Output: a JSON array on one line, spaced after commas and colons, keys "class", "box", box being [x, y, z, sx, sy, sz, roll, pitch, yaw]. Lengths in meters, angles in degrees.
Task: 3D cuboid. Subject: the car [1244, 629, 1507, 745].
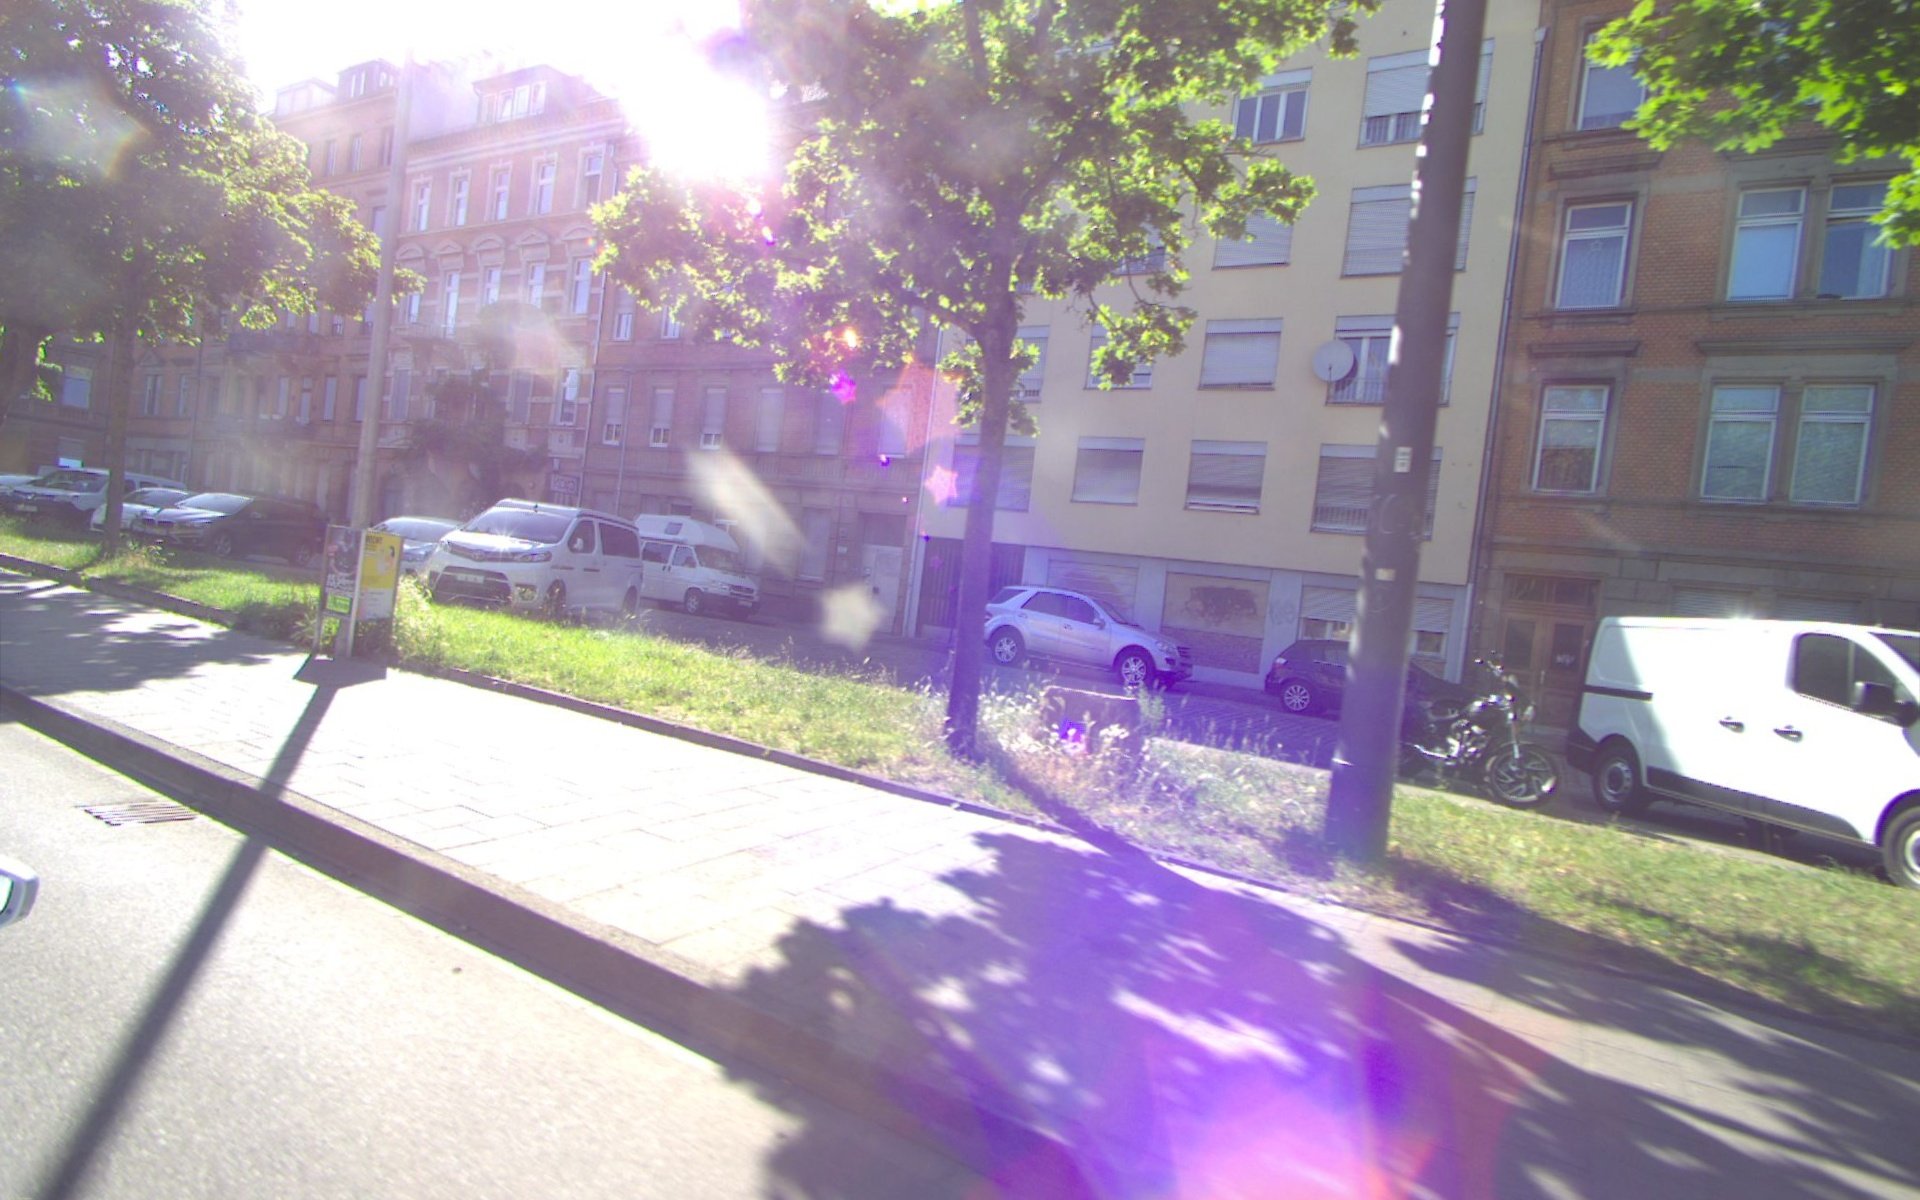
[{"class": "car", "box": [7.572, 1.528, 18.442, 4.095, 1.438, 1.880, 7, 0, 32]}]

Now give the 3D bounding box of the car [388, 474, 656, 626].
[{"class": "car", "box": [-7.273, -0.720, 17.477, 2.061, 2.038, 5.187, 6, 0, 2]}]

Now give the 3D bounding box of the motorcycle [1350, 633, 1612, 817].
[{"class": "motorcycle", "box": [5.089, 1.165, 10.064, 0.842, 1.438, 2.253, 7, 0, -17]}]

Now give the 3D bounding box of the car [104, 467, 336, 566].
[{"class": "car", "box": [-17.391, -1.874, 23.987, 1.962, 1.749, 4.513, 6, 0, 2]}]

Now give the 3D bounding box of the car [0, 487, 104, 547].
[{"class": "car", "box": [-27.900, -2.567, 29.207, 2.009, 1.396, 4.753, 7, -2, -2]}]

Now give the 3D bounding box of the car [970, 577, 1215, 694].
[{"class": "car", "box": [2.760, 0.720, 21.240, 4.549, 1.822, 1.996, 7, 1, 31]}]

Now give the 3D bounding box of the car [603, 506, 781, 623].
[{"class": "car", "box": [-7.319, -0.980, 27.318, 4.439, 2.618, 1.995, 7, 1, 33]}]

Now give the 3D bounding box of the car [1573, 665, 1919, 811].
[{"class": "car", "box": [12.057, 2.038, 15.581, 4.222, 1.438, 1.730, 7, 0, 32]}]

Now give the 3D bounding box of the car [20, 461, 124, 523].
[{"class": "car", "box": [-43.075, -5.253, 48.768, 5.102, 2.387, 2.351, 7, 1, 32]}]

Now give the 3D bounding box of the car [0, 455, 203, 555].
[{"class": "car", "box": [-22.818, -2.430, 26.466, 2.062, 2.038, 4.878, 6, 0, -2]}]

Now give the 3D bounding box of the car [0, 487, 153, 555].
[{"class": "car", "box": [-25.144, -2.205, 28.289, 1.890, 1.396, 3.615, 7, -2, -2]}]

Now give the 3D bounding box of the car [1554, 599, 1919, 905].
[{"class": "car", "box": [7.622, 1.163, 8.447, 1.984, 2.101, 4.877, 7, 0, -3]}]

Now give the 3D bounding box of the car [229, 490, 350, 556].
[{"class": "car", "box": [-25.843, -2.976, 38.736, 4.646, 2.002, 1.995, 7, 1, 32]}]

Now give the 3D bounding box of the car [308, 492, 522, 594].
[{"class": "car", "box": [-9.961, -0.960, 18.775, 1.780, 1.497, 4.028, 6, 0, -2]}]

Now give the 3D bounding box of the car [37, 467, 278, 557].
[{"class": "car", "box": [-20.475, -2.162, 26.023, 2.061, 1.668, 4.880, 6, 0, 2]}]
